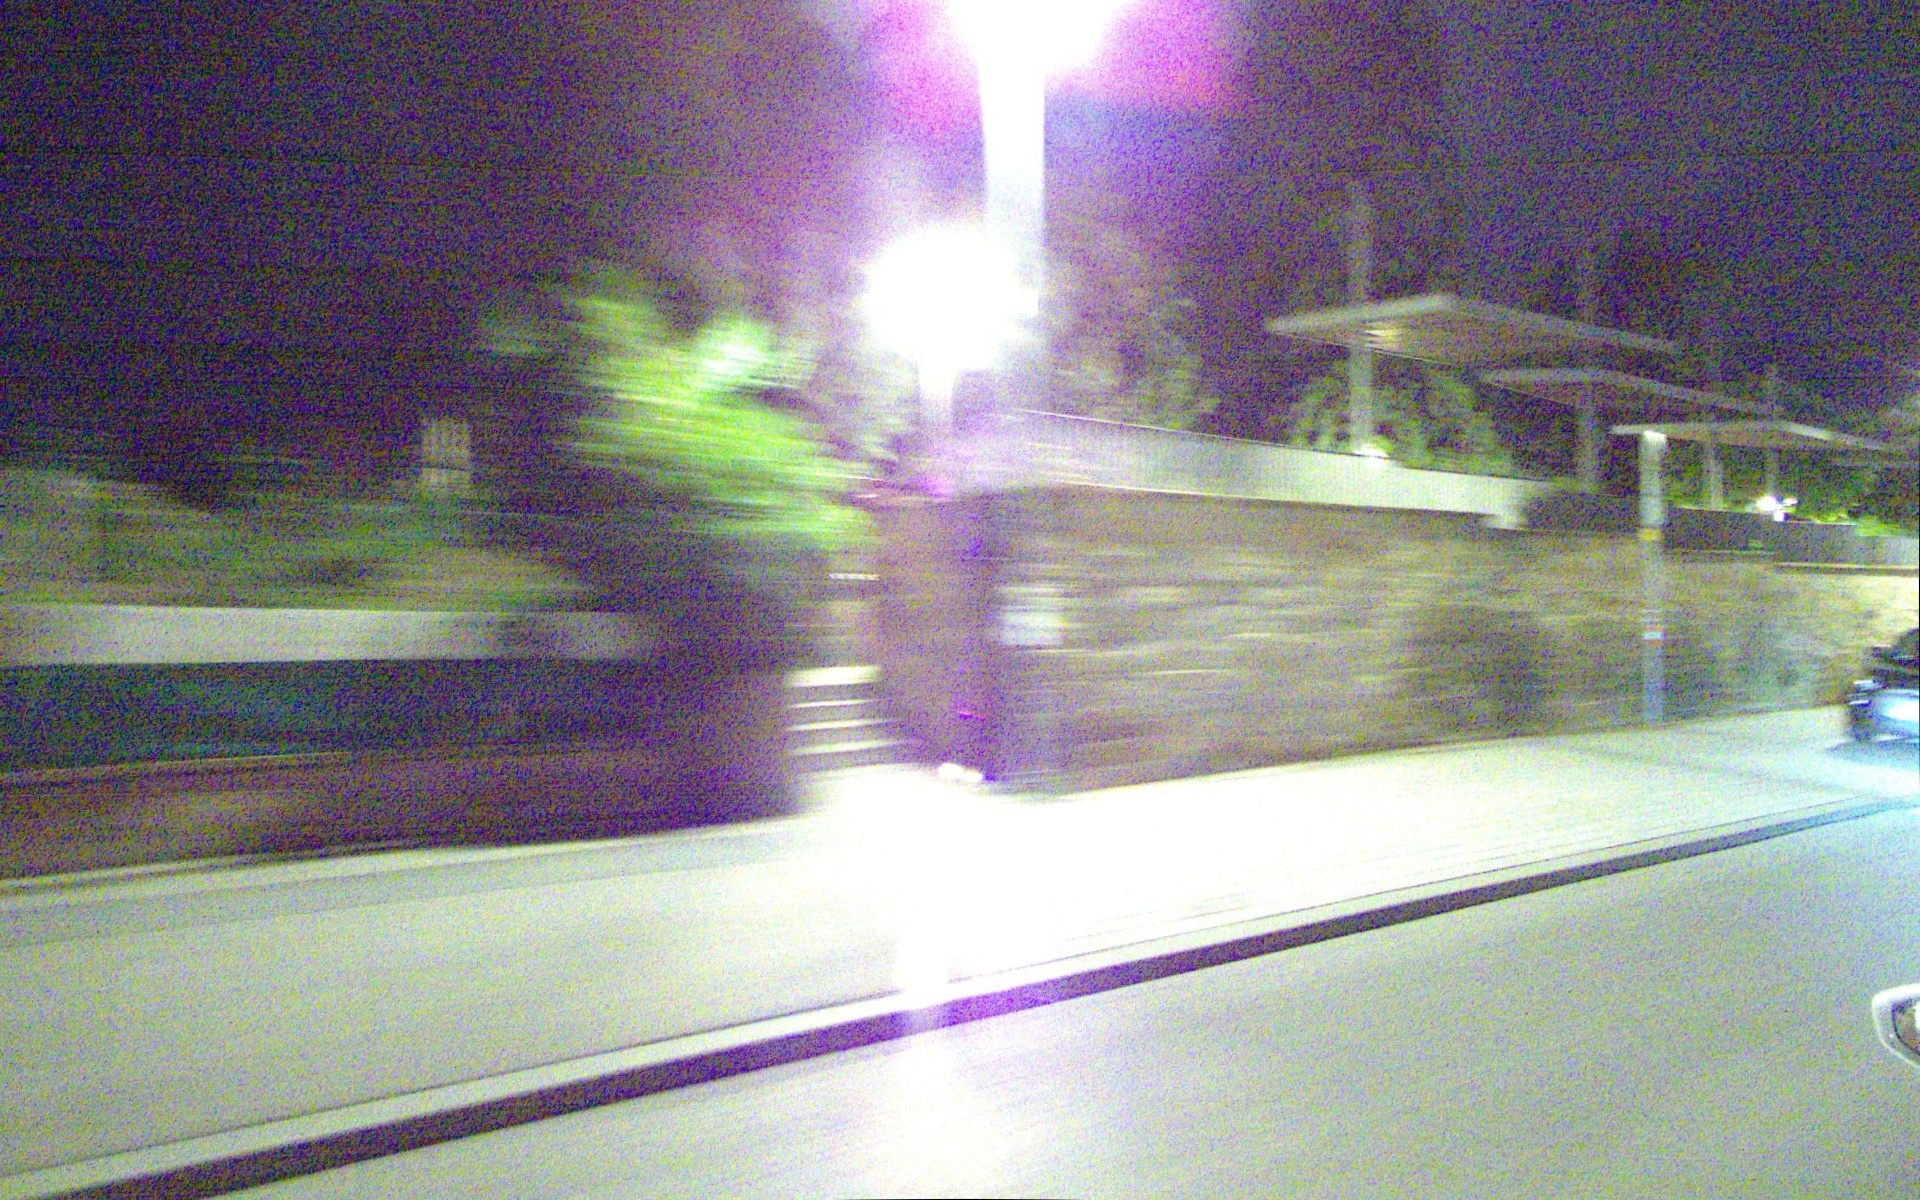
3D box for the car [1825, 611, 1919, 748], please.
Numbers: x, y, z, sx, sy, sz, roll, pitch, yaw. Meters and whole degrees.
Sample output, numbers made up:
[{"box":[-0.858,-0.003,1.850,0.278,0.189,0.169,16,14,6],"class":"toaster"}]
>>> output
[{"box":[12.578,0.988,12.502,3.649,1.544,1.683,2,0,-31],"class":"car"}]
